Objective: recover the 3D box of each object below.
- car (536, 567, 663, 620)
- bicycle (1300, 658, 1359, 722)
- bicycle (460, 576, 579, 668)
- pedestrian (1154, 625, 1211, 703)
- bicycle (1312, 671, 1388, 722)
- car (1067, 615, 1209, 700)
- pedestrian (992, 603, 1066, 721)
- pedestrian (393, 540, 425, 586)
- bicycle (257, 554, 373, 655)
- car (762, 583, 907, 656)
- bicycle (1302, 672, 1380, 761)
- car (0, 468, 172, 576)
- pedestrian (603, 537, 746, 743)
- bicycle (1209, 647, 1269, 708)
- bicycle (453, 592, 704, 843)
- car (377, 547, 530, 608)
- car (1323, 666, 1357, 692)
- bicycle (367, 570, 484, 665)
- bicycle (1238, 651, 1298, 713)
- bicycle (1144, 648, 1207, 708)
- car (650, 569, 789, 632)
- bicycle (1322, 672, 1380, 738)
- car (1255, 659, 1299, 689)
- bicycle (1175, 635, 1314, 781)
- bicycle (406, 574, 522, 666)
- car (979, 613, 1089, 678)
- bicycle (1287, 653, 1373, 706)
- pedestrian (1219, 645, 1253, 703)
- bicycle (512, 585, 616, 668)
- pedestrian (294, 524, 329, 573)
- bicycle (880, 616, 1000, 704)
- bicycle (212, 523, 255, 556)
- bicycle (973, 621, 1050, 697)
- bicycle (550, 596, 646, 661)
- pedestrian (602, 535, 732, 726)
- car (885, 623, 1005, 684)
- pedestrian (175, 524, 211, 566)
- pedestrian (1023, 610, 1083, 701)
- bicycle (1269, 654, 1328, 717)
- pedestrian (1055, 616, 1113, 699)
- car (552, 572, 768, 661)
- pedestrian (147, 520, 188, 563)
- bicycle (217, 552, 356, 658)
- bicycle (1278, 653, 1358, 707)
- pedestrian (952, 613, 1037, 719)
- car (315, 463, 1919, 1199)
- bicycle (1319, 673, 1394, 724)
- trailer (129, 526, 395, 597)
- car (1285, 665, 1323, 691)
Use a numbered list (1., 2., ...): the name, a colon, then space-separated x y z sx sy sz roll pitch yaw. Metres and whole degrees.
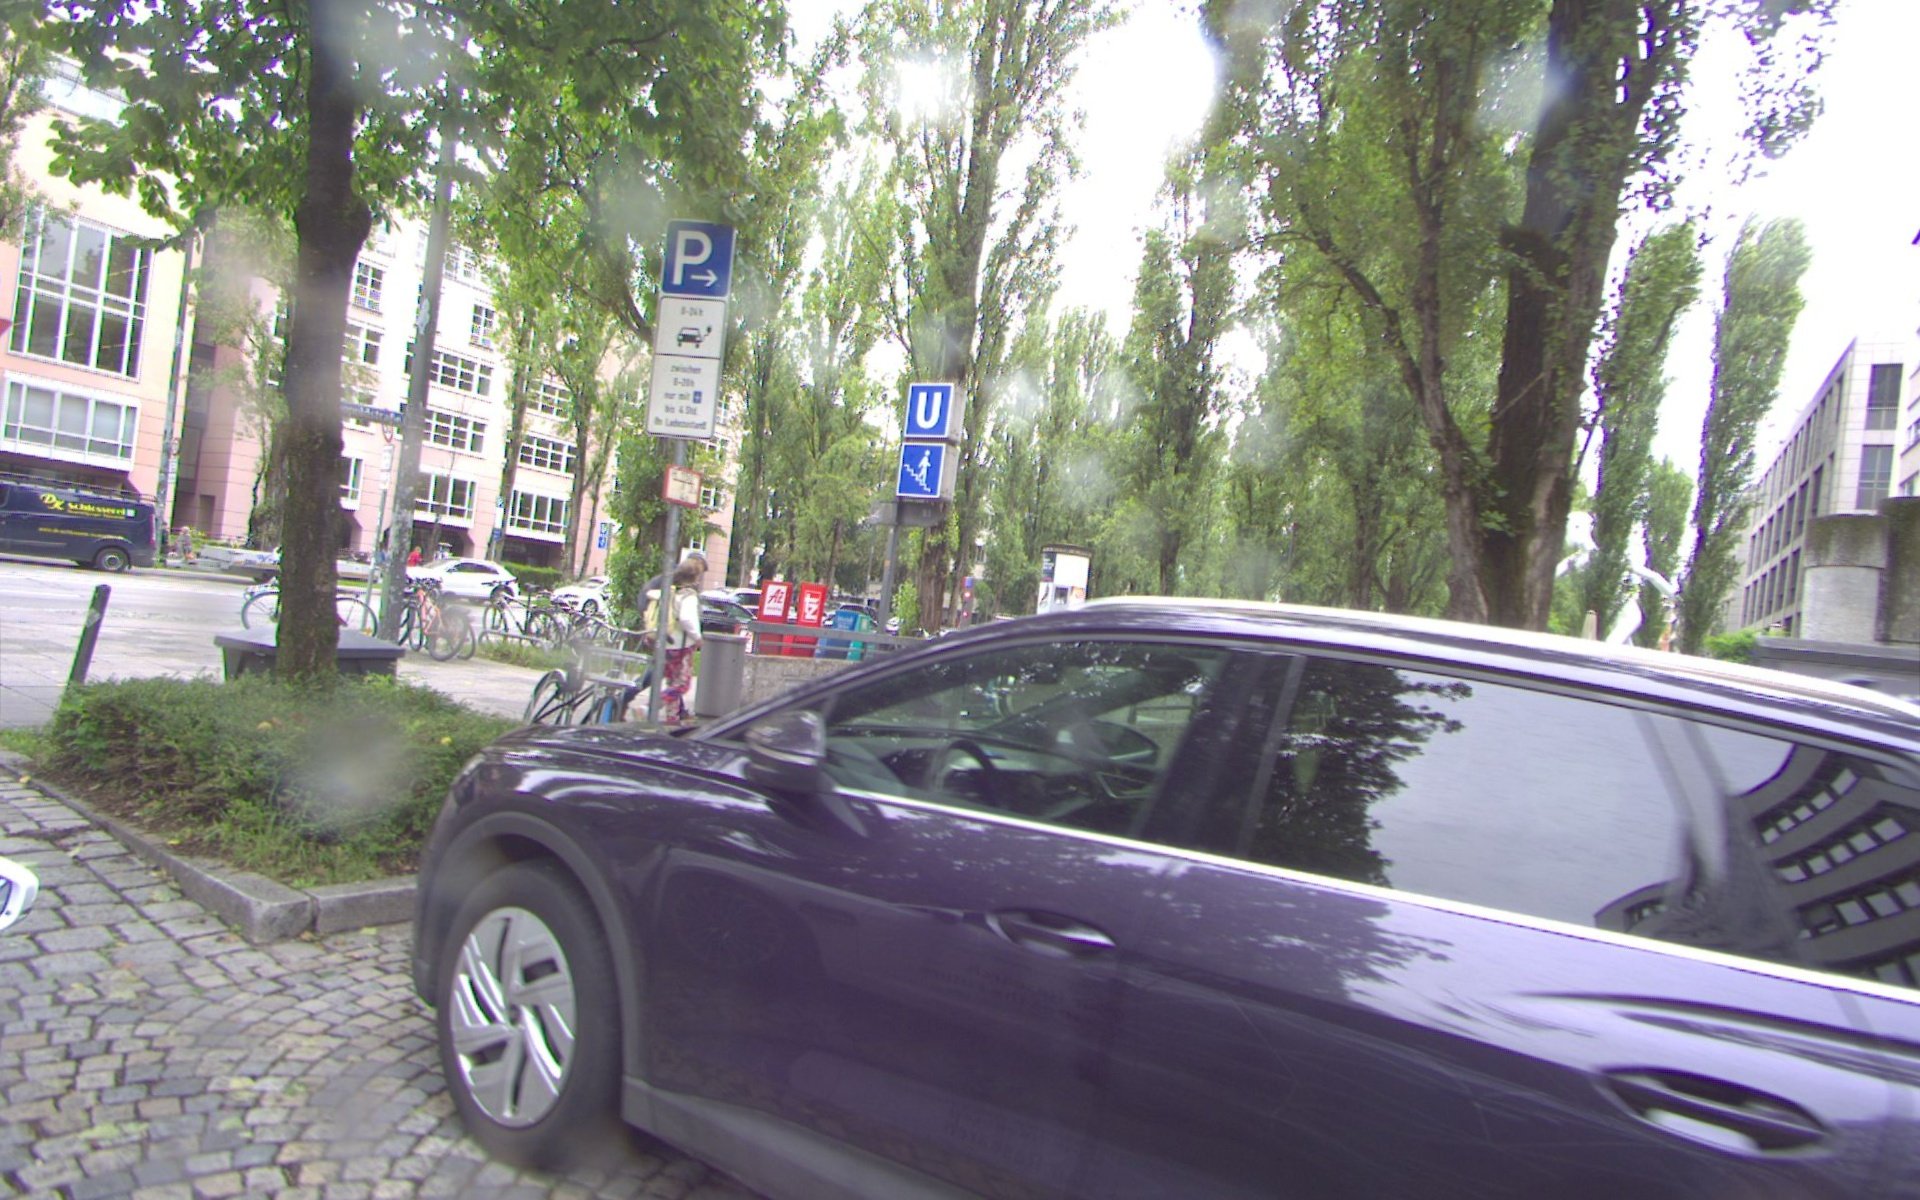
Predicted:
1. car: -14.129 -0.219 39.660 1.966 1.560 4.318 7 -1 30
2. bicycle: 7.495 1.835 20.355 0.578 1.173 1.865 7 -1 33
3. bicycle: -6.385 0.305 14.534 1.899 1.118 0.512 6 -1 33
4. pedestrian: 5.833 1.685 26.327 0.905 1.889 1.011 7 0 38
5. bicycle: 11.162 2.744 28.803 1.840 1.174 0.586 7 0 35
6. car: 5.137 1.697 28.430 1.786 1.918 5.191 7 -1 34
7. pedestrian: 1.074 0.969 15.614 0.686 1.721 0.656 7 0 -42
8. pedestrian: -22.193 -1.492 40.511 0.698 1.734 0.730 7 0 34
9. bicycle: -8.229 0.043 12.813 1.846 1.063 0.474 7 0 35
10. car: -3.401 0.588 27.972 1.720 1.545 3.899 8 0 34
11. bicycle: 5.738 1.730 15.078 0.578 1.173 1.865 7 -1 33
12. car: -23.416 -2.072 25.052 1.991 2.223 5.486 7 -1 33
13. pedestrian: -2.509 0.361 8.861 0.602 1.700 0.842 7 0 42
14. bicycle: 5.952 1.665 21.379 0.578 1.173 1.865 7 -1 33
15. bicycle: -2.315 0.622 5.967 1.850 1.150 0.474 7 0 41
16. car: -17.182 -0.735 34.297 1.778 1.560 4.223 5 -1 35
17. car: 31.634 6.612 83.694 1.719 1.808 3.945 8 0 31
18. bicycle: -7.093 0.214 13.318 1.847 1.063 0.474 5 -1 35
19. bicycle: 6.449 1.723 21.020 0.578 1.173 1.865 7 -1 33
20. bicycle: 4.696 1.715 21.833 0.578 1.173 1.865 7 -1 33
21. car: -8.732 0.070 36.964 1.968 1.742 4.805 6 -2 33
22. bicycle: 7.771 2.080 19.951 0.578 1.173 1.865 7 -1 33
23. car: 21.089 4.953 66.853 1.719 1.662 3.945 8 0 31
24. bicycle: 2.959 1.095 10.328 0.710 1.292 1.865 7 -1 33
25. bicycle: -6.748 0.254 13.643 1.847 1.063 0.474 5 -1 35
26. car: 2.910 1.783 38.142 1.885 1.947 5.032 8 0 31
27. bicycle: 10.128 2.163 27.581 2.000 1.174 0.586 7 0 35
28. pedestrian: 9.243 2.479 33.715 0.689 1.863 0.704 7 0 36
29. bicycle: -6.003 0.386 15.205 1.806 1.051 0.511 6 -1 38
30. pedestrian: -24.595 -1.962 38.154 0.698 1.734 0.730 7 0 34
31. bicycle: -0.276 0.946 15.492 0.580 1.173 1.859 7 -1 44
32. bicycle: -29.355 -2.452 40.643 1.957 1.138 0.674 7 0 34
33. bicycle: 0.922 1.033 17.404 0.577 1.173 1.869 7 -1 24
34. bicycle: -5.743 0.433 15.915 1.806 0.828 0.470 6 -1 38
35. pedestrian: -2.812 0.303 9.669 0.655 1.717 0.802 7 0 42
36. car: -0.418 1.786 32.688 1.719 1.545 4.227 8 0 32
37. pedestrian: -27.770 -1.996 36.404 0.698 1.386 0.730 7 0 34
38. pedestrian: 1.995 1.197 21.542 0.739 1.825 0.840 7 0 37
39. bicycle: 6.982 1.780 20.695 0.578 1.173 1.865 7 -1 33
40. pedestrian: 2.601 1.201 21.039 0.688 1.625 0.831 7 0 37
41. car: -6.680 0.435 22.862 1.729 1.444 4.436 9 0 36
42. pedestrian: -28.119 -2.053 35.693 0.718 1.386 0.709 7 0 4
43. bicycle: -8.065 0.046 12.019 1.844 1.063 0.475 6 0 28
44. bicycle: 9.614 2.145 27.062 1.840 1.174 0.586 7 0 35
45. pedestrian: 0.503 0.974 14.837 0.765 1.437 0.809 6 0 -42
46. car: 0.519 0.765 2.621 4.131 1.720 1.924 7 -1 31
47. bicycle: 11.545 2.861 29.306 1.840 1.174 0.586 7 0 35
48. trailer: -20.489 -1.078 29.881 2.366 1.213 6.025 7 -1 33
49. car: 25.161 5.712 73.525 1.719 1.564 3.945 8 0 31
